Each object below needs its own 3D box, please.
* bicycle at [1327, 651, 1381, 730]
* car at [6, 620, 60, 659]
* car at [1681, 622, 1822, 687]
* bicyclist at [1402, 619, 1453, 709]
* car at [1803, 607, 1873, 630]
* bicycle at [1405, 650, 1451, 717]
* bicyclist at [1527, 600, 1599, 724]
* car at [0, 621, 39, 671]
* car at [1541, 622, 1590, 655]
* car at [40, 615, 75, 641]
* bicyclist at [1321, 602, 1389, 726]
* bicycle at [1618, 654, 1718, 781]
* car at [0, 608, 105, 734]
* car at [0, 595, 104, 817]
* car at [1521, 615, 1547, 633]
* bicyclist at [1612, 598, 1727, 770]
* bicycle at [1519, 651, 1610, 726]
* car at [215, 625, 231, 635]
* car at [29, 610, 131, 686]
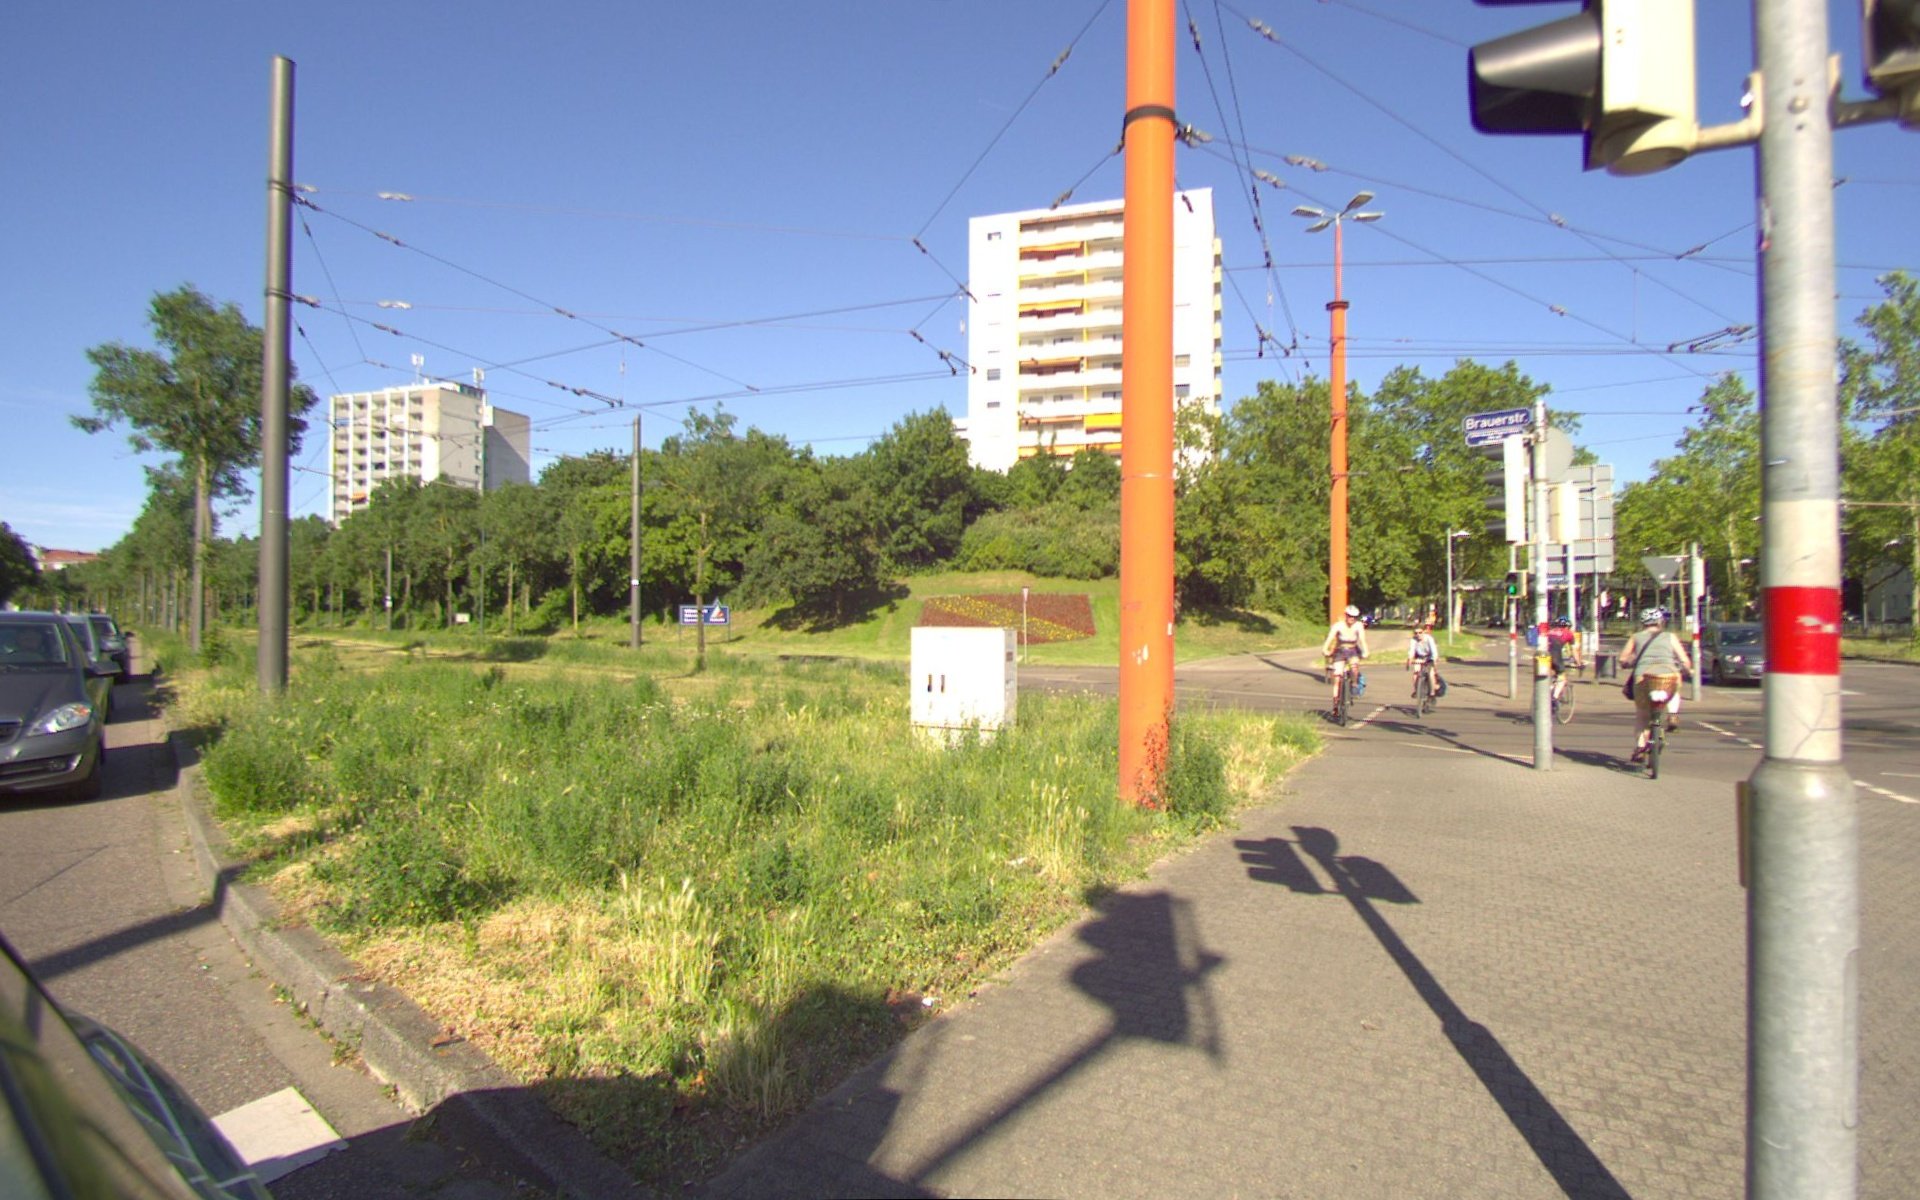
[{"bbox_3d":[6.206,1.392,16.015,0.574,1.079,1.906,-1,0,15],"label":"bicycle"},{"bbox_3d":[-43.035,1.800,47.044,1.723,1.674,4.006,-1,0,-41],"label":"car"},{"bbox_3d":[21.034,1.391,27.098,1.906,1.507,4.015,-1,0,22],"label":"car"},{"bbox_3d":[8.374,1.115,18.123,0.718,1.536,0.914,-1,0,31],"label":"bicyclist"},{"bbox_3d":[79.622,1.692,91.862,1.907,1.999,4.354,0,-2,-30],"label":"car"},{"bbox_3d":[8.420,1.466,18.161,0.577,1.080,1.896,-1,-1,30],"label":"bicycle"},{"bbox_3d":[9.724,0.974,16.328,0.975,1.927,0.688,0,-1,-39],"label":"bicyclist"},{"bbox_3d":[-34.165,1.624,36.155,1.723,1.674,4.006,-1,0,-41],"label":"car"},{"bbox_3d":[30.790,1.917,51.529,1.909,1.507,3.962,-1,0,28],"label":"car"},{"bbox_3d":[-57.344,1.748,64.356,1.606,1.576,3.818,-1,0,-41],"label":"car"},{"bbox_3d":[6.222,0.979,15.989,0.885,1.881,0.919,-1,0,17],"label":"bicyclist"},{"bbox_3d":[7.265,1.139,10.349,0.739,1.139,1.891,-1,-3,38],"label":"bicycle"},{"bbox_3d":[-14.015,0.986,15.213,1.723,1.674,4.006,-1,0,-41],"label":"car"},{"bbox_3d":[-8.678,0.832,8.891,1.723,1.652,4.006,0,-1,-41],"label":"car"},{"bbox_3d":[49.764,2.063,87.740,1.838,1.507,3.962,-1,0,28],"label":"car"},{"bbox_3d":[7.212,0.818,10.284,0.891,1.634,0.817,-1,-2,38],"label":"bicyclist"},{"bbox_3d":[9.830,1.401,16.437,1.886,1.080,0.693,1,-1,-41],"label":"bicycle"},{"bbox_3d":[-104.746,4.287,143.819,1.554,1.431,3.915,0,-1,-40],"label":"car"},{"bbox_3d":[-21.170,1.113,24.399,1.723,1.674,4.006,1,-2,-41],"label":"car"}]
